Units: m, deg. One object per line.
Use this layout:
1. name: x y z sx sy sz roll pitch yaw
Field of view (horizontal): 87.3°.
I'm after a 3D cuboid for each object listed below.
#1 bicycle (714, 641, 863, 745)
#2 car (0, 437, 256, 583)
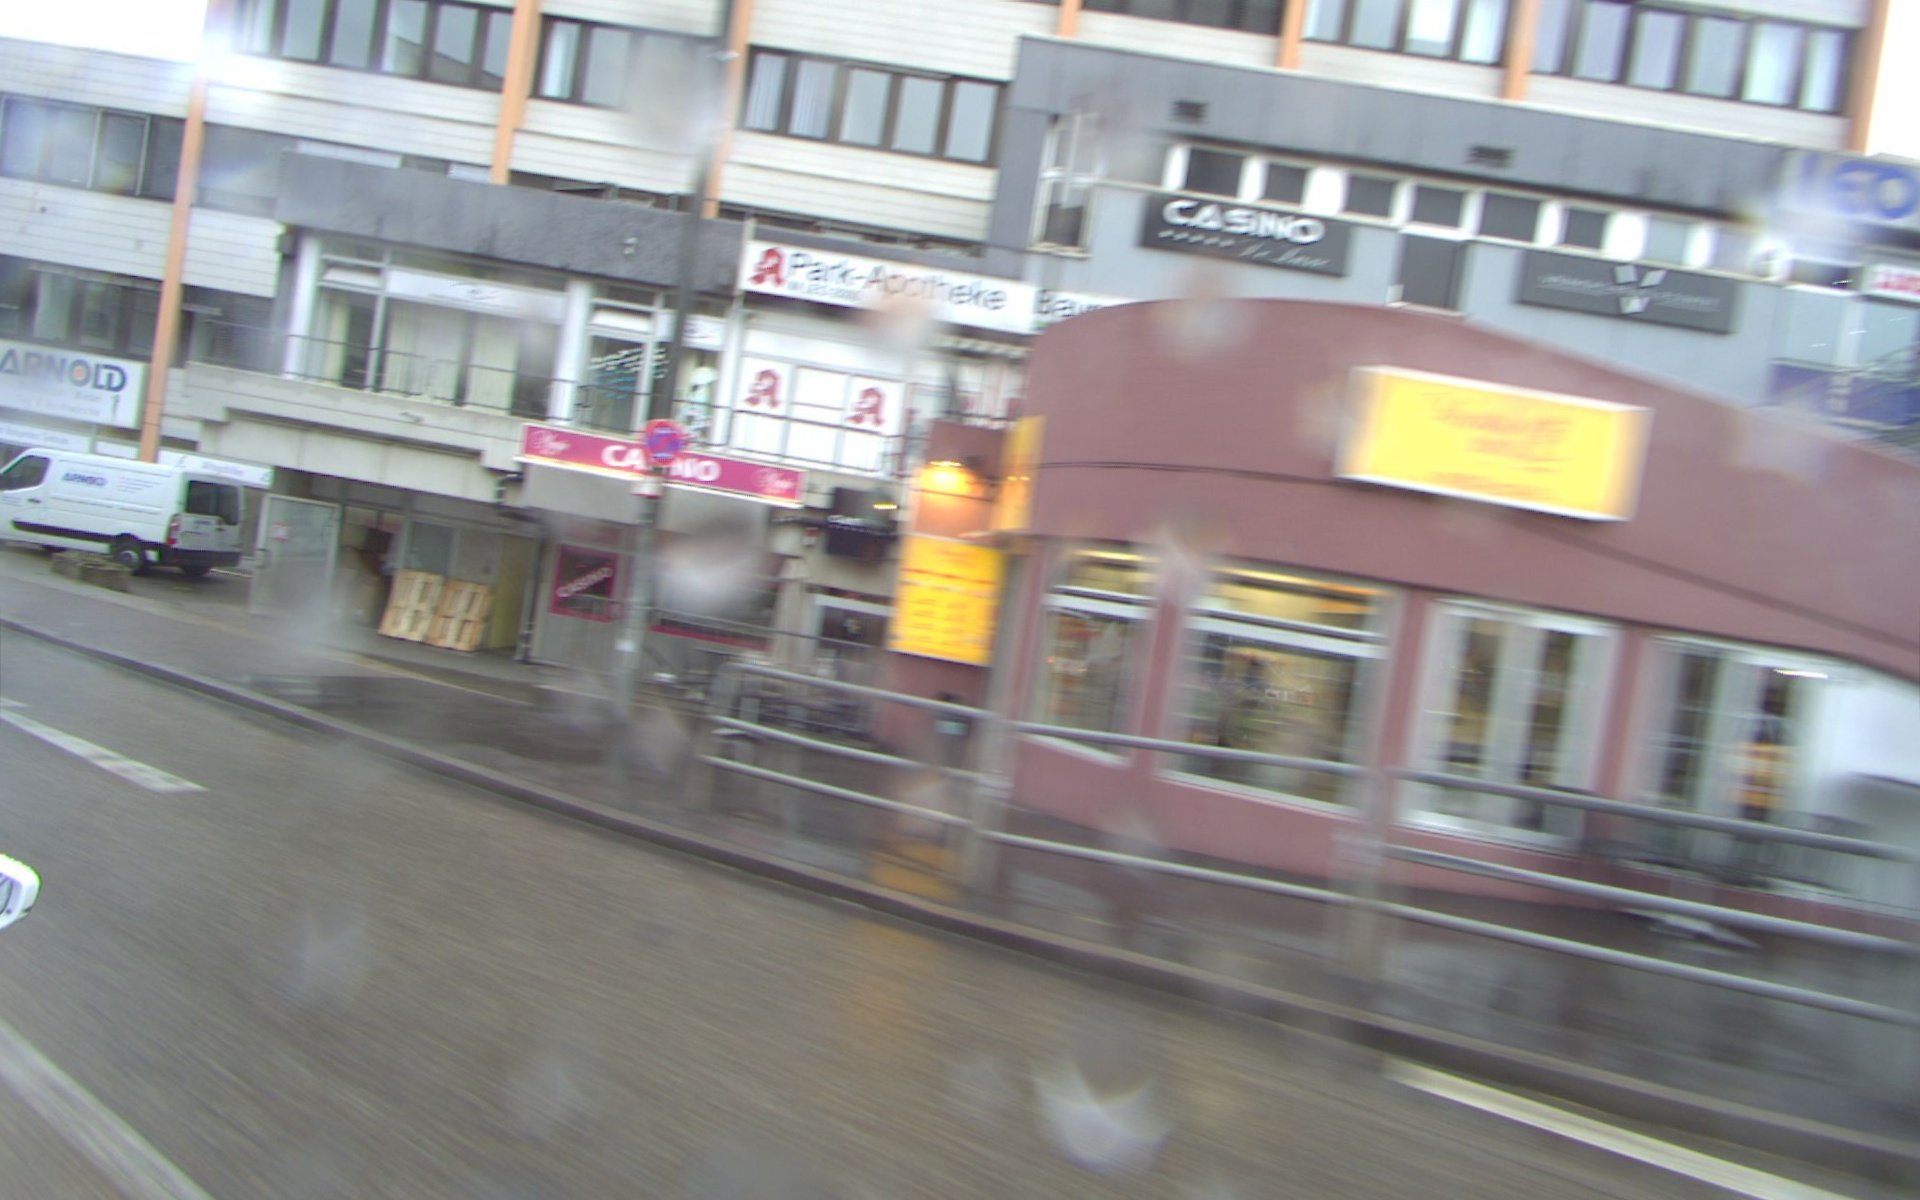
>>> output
1. bicycle: -1.935 1.057 11.503 1.549 0.950 0.530 7 3 -7
2. car: -18.193 -1.923 21.388 4.789 2.237 2.004 10 3 -1
